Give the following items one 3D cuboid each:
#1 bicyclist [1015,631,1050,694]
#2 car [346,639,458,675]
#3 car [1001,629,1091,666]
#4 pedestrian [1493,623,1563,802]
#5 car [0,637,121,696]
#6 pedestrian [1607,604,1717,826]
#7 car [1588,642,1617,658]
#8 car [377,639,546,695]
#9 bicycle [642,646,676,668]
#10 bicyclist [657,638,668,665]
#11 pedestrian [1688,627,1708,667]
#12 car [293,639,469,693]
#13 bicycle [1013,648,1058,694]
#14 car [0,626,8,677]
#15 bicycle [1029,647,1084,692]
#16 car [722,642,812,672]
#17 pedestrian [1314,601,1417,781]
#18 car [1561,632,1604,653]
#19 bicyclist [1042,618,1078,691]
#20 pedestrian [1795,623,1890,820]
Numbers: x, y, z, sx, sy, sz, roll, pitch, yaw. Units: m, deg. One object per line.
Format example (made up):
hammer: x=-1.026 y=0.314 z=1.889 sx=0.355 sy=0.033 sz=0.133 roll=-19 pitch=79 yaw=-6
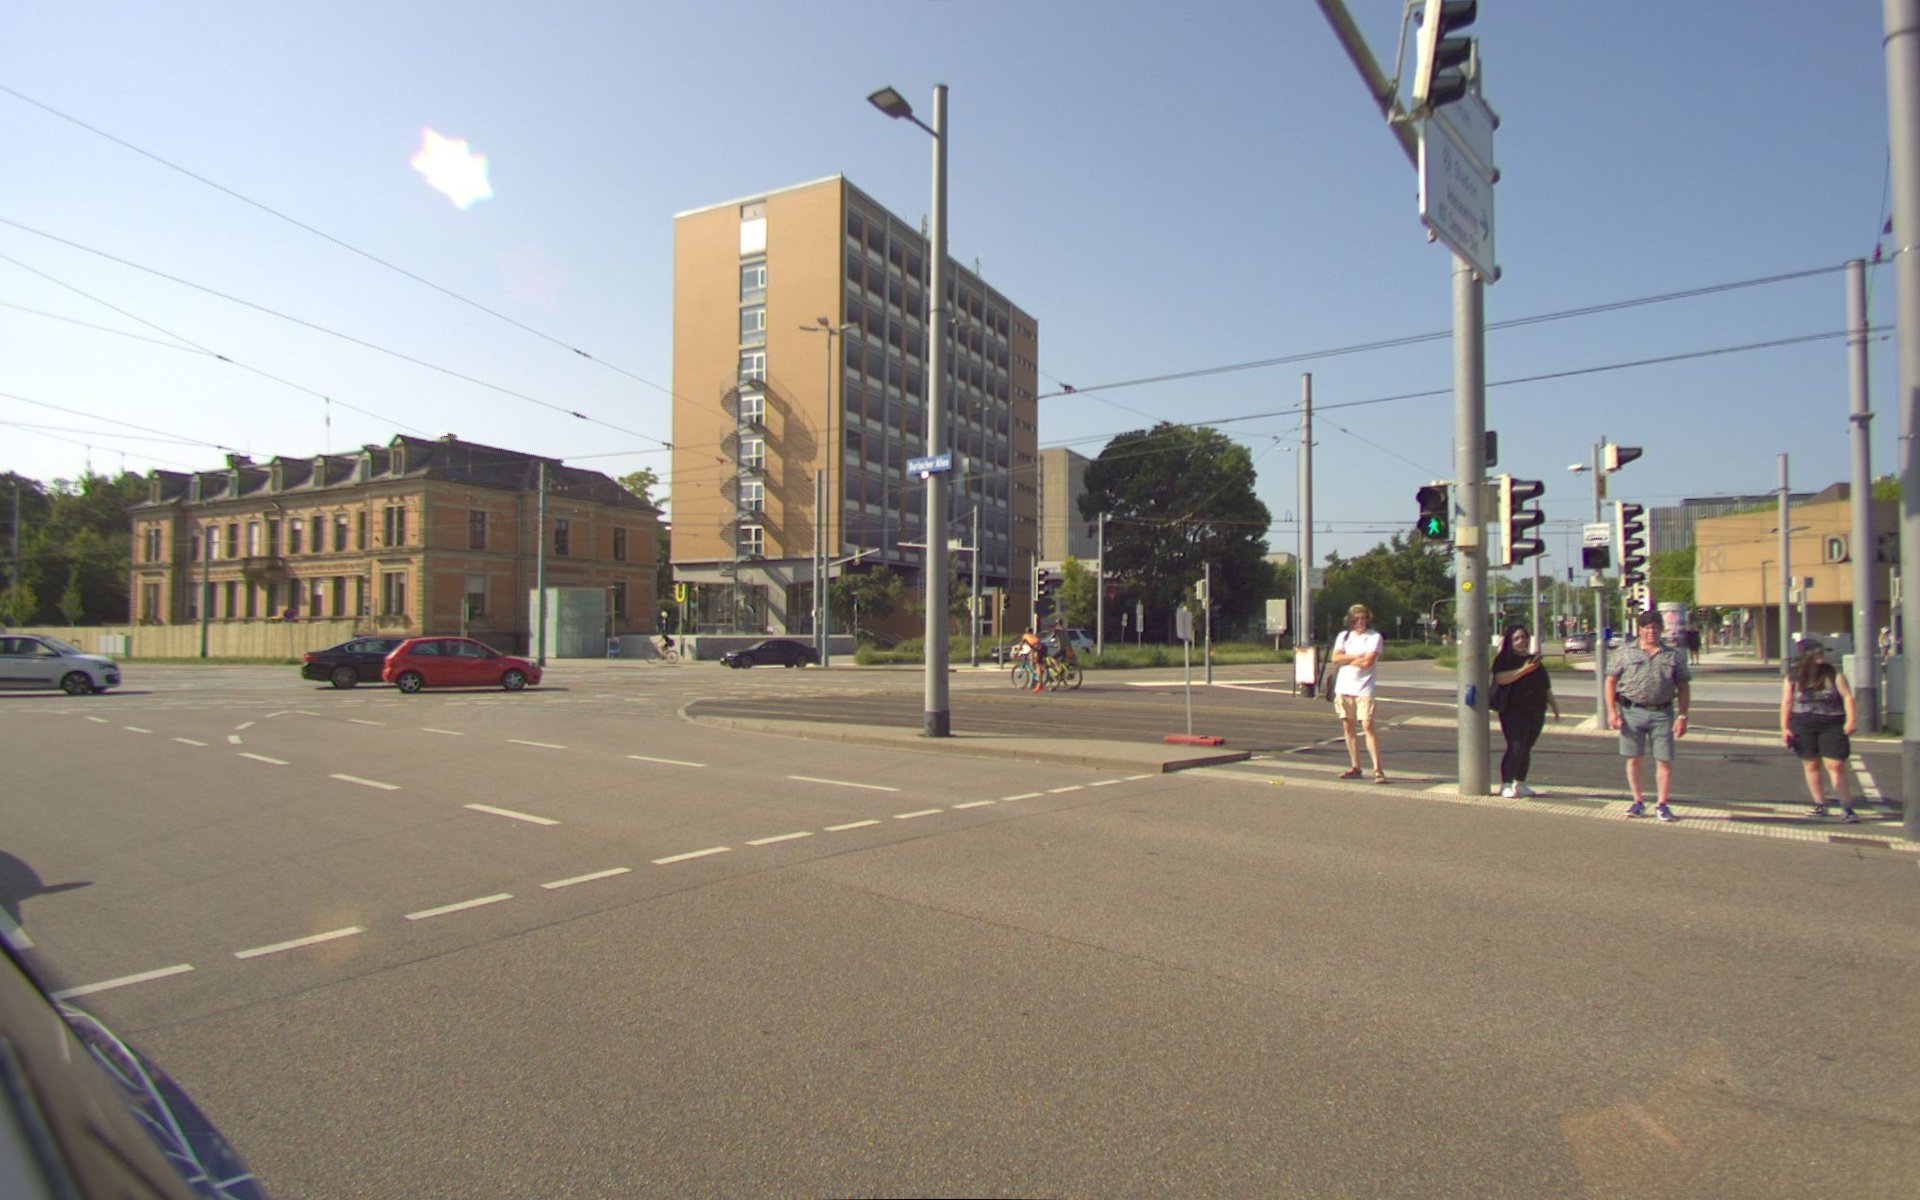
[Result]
bicyclist: x=1.934 y=1.641 z=26.899 sx=0.503 sy=1.643 sz=0.809 roll=1 pitch=-3 yaw=-35
car: x=-24.363 y=2.471 z=44.251 sx=4.216 sy=1.477 sz=1.679 roll=1 pitch=-5 yaw=-30
car: x=4.339 y=2.395 z=50.944 sx=4.218 sy=1.720 sz=1.957 roll=1 pitch=-5 yaw=-34
pedestrian: x=5.353 y=1.041 z=9.533 sx=0.467 sy=1.610 sz=0.626 roll=-1 pitch=-5 yaw=38
car: x=-23.616 y=1.646 z=25.449 sx=3.495 sy=1.446 sz=1.809 roll=1 pitch=-3 yaw=-25
pedestrian: x=5.769 y=0.915 z=8.315 sx=0.651 sy=1.706 sz=0.805 roll=-2 pitch=-5 yaw=40
car: x=59.085 y=4.576 z=93.072 sx=3.472 sy=1.462 sz=1.494 roll=2 pitch=-3 yaw=-45
car: x=-13.336 y=1.755 z=27.227 sx=3.931 sy=1.426 sz=1.809 roll=1 pitch=-3 yaw=-27
bicycle: x=-16.570 y=3.125 z=55.646 sx=1.742 sy=1.203 sz=0.403 roll=1 pitch=-3 yaw=-23
bicyclist: x=-16.389 y=2.842 z=55.723 sx=0.539 sy=1.491 sz=0.398 roll=1 pitch=-2 yaw=-23
pedestrian: x=33.191 y=2.118 z=45.537 sx=0.551 sy=1.782 sz=0.403 roll=0 pitch=-2 yaw=-4
car: x=-16.529 y=1.848 z=29.167 sx=4.275 sy=1.463 sz=1.809 roll=1 pitch=-3 yaw=-26
bicycle: x=1.996 y=1.868 z=26.883 sx=0.306 sy=1.174 sz=1.503 roll=1 pitch=-3 yaw=-34
car: x=-37.561 y=1.876 z=36.585 sx=4.216 sy=1.901 sz=1.800 roll=1 pitch=-5 yaw=-30
bicycle: x=2.653 y=1.905 z=27.987 sx=0.371 sy=1.174 sz=1.864 roll=1 pitch=-3 yaw=-34
car: x=-9.928 y=2.942 z=52.179 sx=4.251 sy=1.477 sz=1.679 roll=1 pitch=-5 yaw=-30
pedestrian: x=4.283 y=0.945 z=10.687 sx=0.822 sy=1.802 sz=0.730 roll=5 pitch=-5 yaw=-42
car: x=45.523 y=3.116 z=74.026 sx=3.941 sy=1.519 sz=1.784 roll=2 pitch=-3 yaw=-45
bicyclist: x=2.748 y=1.491 z=27.805 sx=0.571 sy=1.989 sz=0.809 roll=1 pitch=-3 yaw=-35
pedestrian: x=7.439 y=0.996 z=8.544 sx=0.547 sy=1.560 sz=0.799 roll=-2 pitch=-5 yaw=41
